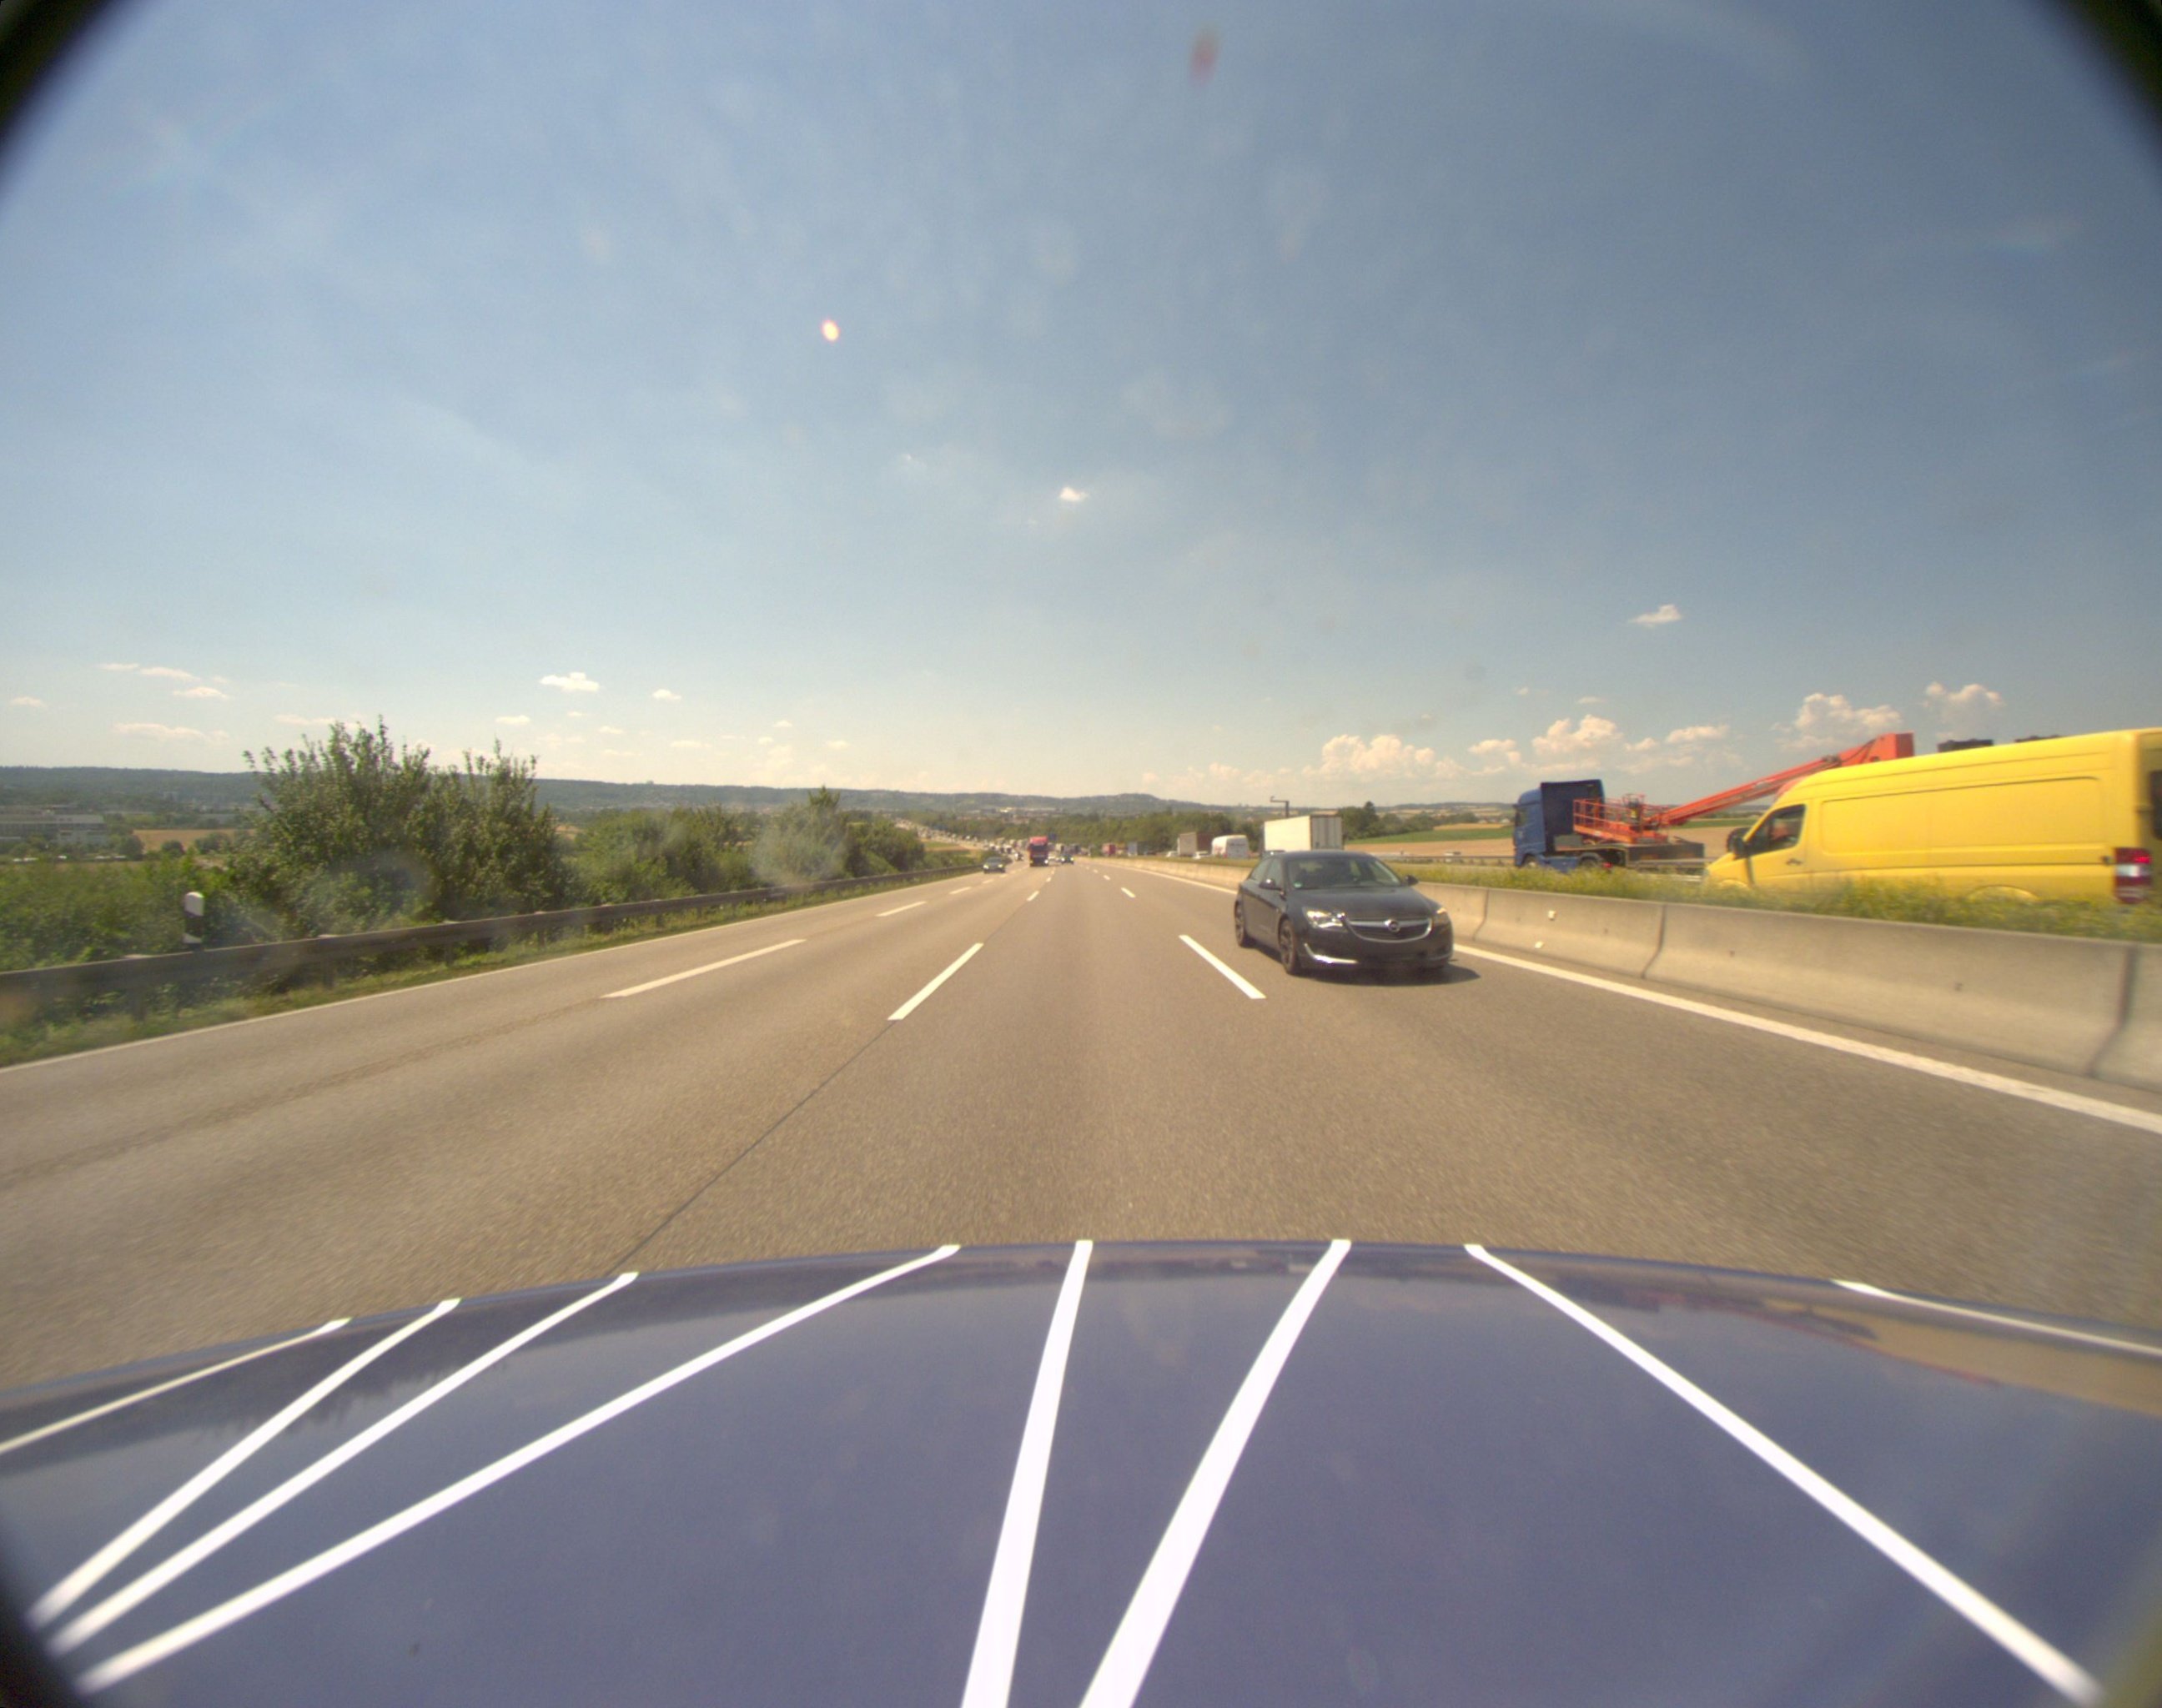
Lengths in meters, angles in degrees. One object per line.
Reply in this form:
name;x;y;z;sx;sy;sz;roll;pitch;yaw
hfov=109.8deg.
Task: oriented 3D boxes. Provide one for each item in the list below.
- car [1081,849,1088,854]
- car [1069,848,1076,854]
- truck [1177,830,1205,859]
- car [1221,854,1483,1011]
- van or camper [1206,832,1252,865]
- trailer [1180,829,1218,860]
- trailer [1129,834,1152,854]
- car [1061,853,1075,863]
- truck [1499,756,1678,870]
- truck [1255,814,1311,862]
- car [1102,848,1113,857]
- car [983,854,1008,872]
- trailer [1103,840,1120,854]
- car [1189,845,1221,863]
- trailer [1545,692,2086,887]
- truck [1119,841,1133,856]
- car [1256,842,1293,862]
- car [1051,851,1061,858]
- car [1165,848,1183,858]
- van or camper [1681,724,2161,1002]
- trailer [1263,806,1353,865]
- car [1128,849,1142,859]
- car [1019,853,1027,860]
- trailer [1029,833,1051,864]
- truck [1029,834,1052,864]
car;1.078;-0.794;262.706;1.919;1.532;5.739;-2;1;-5
car;-2.838;-1.150;262.850;1.919;1.958;5.444;-2;1;-5
truck;17.428;-1.483;120.753;3.140;4.303;6.145;-2;1;-1
car;3.230;0.809;10.193;1.807;1.534;4.749;-2;0;0
van or camper;11.570;-0.465;60.091;2.073;2.449;7.518;-1;1;-1
trailer;17.566;-1.416;114.235;3.132;4.299;14.540;-2;1;-1
trailer;13.522;-2.260;174.436;3.170;4.170;14.373;-3;1;-3
car;-2.038;0.590;117.703;1.867;1.426;3.996;-2;3;-6
truck;19.508;-1.441;29.738;2.783;3.915;6.137;-2;0;0
truck;18.963;-1.462;71.773;3.235;4.182;7.125;-2;0;-1
car;6.179;-0.302;178.266;1.999;1.893;5.674;-2;1;-2
car;-7.885;0.814;70.369;2.037;1.543;3.998;-2;0;-4
trailer;8.835;-2.040;222.233;3.095;4.077;14.372;-2;1;-5
car;11.687;-0.047;72.217;1.932;1.578;5.667;-2;0;-2
trailer;19.458;-1.402;22.632;2.846;3.935;13.726;-2;1;0
truck;11.908;-1.578;202.273;2.758;3.815;7.095;-2;0;-4
car;15.431;-0.186;60.775;1.823;1.471;4.502;-2;1;0
car;-6.051;0.113;184.870;2.000;1.467;3.995;-3;3;-8
car;13.693;-0.188;111.704;1.871;1.448;4.571;-2;1;-2
van or camper;11.568;0.041;10.263;2.089;2.692;6.139;-2;0;1
trailer;19.071;-1.459;65.280;3.250;4.362;14.025;-2;0;-1
car;9.286;-0.035;131.226;1.884;1.562;4.587;-2;0;-2
car;-15.136;0.706;197.114;1.999;1.467;3.996;-2;3;-4
trailer;-6.025;-0.963;111.323;2.927;4.094;13.849;-3;2;-3
truck;-5.632;-0.751;104.726;2.924;3.986;6.507;-3;2;-3
